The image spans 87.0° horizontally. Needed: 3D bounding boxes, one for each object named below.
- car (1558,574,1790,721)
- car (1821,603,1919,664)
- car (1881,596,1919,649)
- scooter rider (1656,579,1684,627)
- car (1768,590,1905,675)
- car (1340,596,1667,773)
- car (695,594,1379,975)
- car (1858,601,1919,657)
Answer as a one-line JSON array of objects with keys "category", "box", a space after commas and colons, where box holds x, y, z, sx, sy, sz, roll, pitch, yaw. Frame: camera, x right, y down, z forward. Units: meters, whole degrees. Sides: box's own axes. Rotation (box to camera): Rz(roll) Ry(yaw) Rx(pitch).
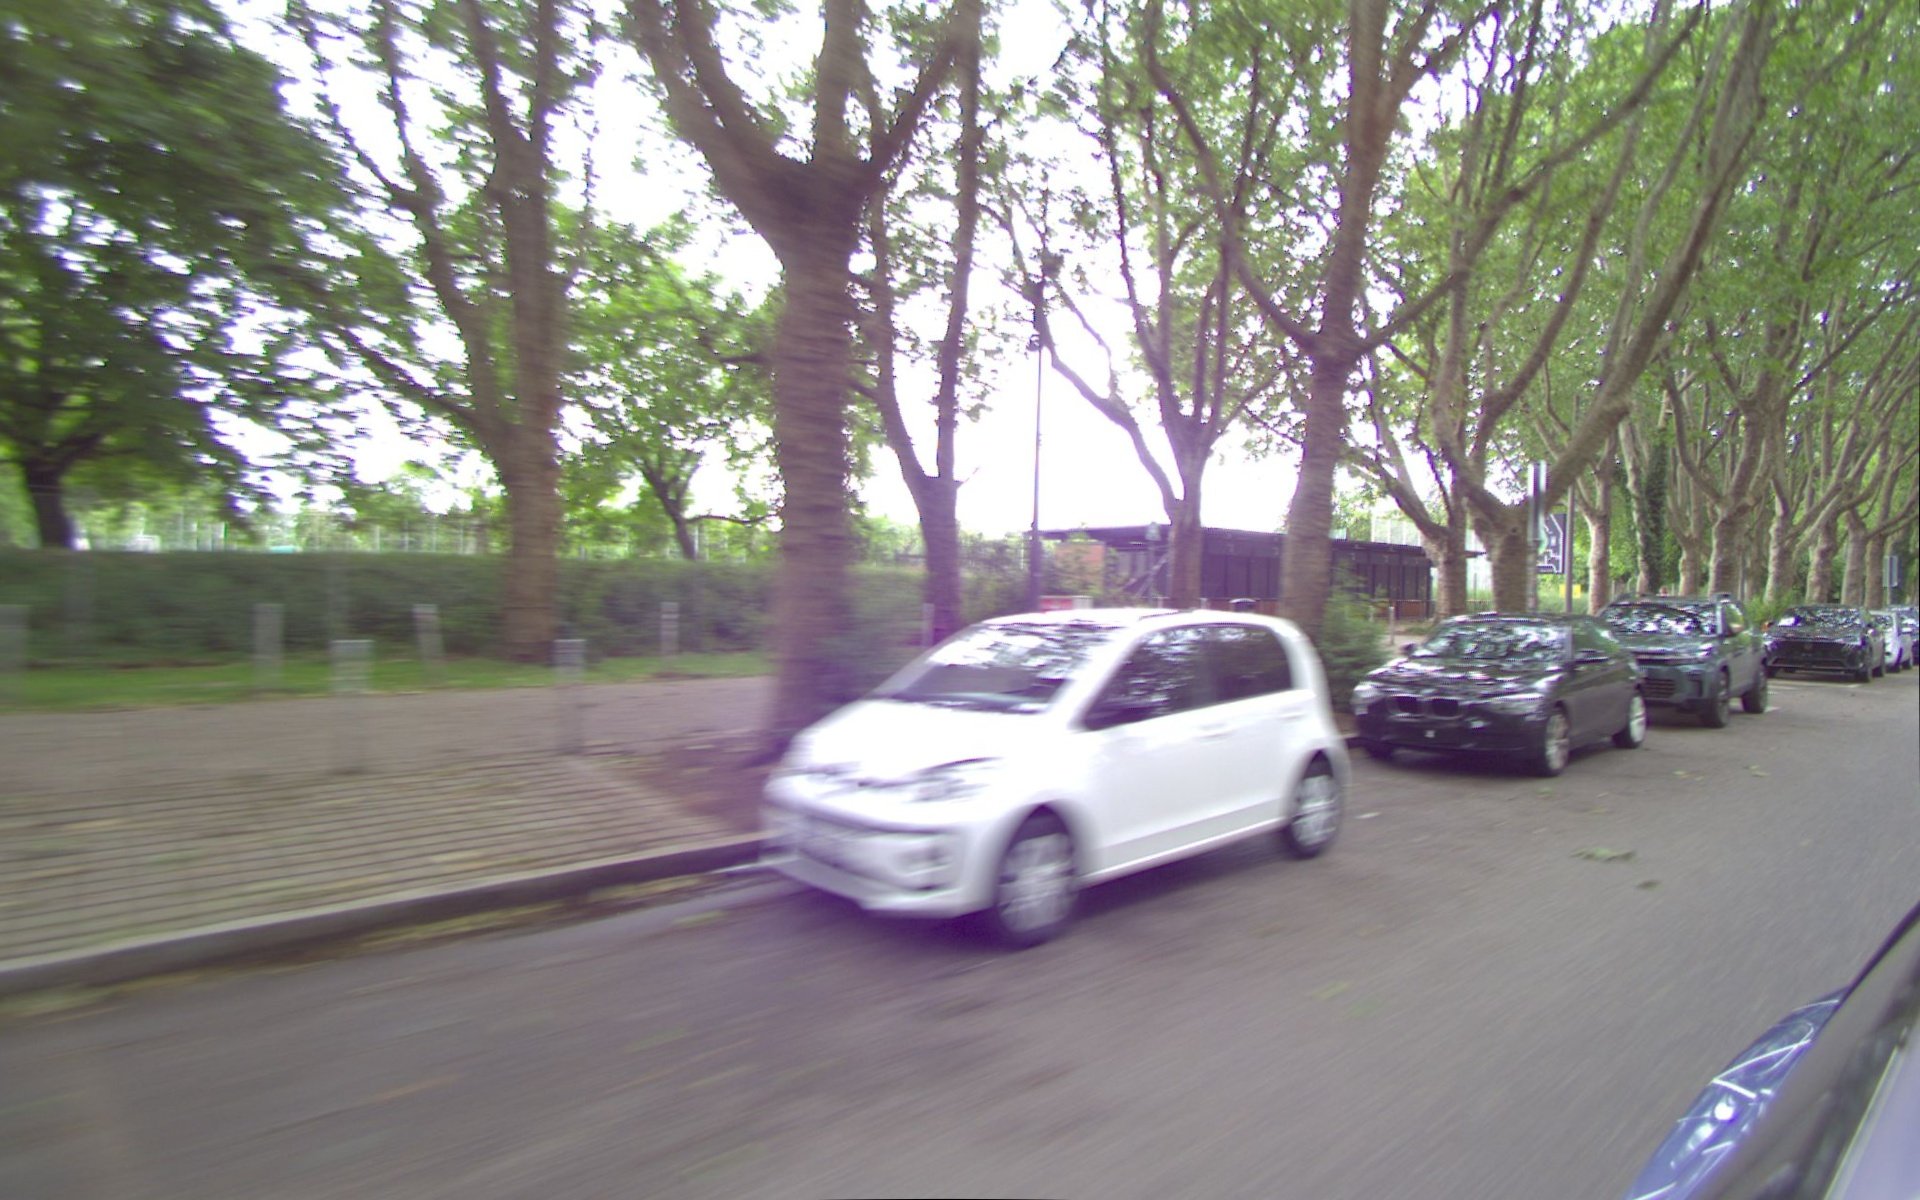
[{"category": "car", "box": [10.007, 0.559, 14.034, 4.552, 1.720, 1.709, 0, -1, -43]}, {"category": "car", "box": [23.499, 0.819, 25.909, 3.644, 1.460, 1.619, 0, -1, -40]}, {"category": "car", "box": [31.486, 0.711, 32.905, 4.361, 1.640, 1.758, 0, -1, -41]}, {"category": "scooter rider", "box": [27.526, 0.124, 39.216, 0.577, 1.822, 0.678, 1, 2, -41]}, {"category": "car", "box": [19.628, 0.647, 22.598, 4.558, 1.694, 1.780, 0, 1, -42]}, {"category": "car", "box": [5.709, 0.692, 10.365, 4.288, 1.433, 1.709, 0, 0, -44]}, {"category": "car", "box": [0.643, 0.702, 5.759, 3.821, 1.445, 1.710, 0, 0, -41]}, {"category": "car", "box": [27.589, 0.801, 29.435, 4.277, 1.528, 1.671, 0, -1, -41]}]
